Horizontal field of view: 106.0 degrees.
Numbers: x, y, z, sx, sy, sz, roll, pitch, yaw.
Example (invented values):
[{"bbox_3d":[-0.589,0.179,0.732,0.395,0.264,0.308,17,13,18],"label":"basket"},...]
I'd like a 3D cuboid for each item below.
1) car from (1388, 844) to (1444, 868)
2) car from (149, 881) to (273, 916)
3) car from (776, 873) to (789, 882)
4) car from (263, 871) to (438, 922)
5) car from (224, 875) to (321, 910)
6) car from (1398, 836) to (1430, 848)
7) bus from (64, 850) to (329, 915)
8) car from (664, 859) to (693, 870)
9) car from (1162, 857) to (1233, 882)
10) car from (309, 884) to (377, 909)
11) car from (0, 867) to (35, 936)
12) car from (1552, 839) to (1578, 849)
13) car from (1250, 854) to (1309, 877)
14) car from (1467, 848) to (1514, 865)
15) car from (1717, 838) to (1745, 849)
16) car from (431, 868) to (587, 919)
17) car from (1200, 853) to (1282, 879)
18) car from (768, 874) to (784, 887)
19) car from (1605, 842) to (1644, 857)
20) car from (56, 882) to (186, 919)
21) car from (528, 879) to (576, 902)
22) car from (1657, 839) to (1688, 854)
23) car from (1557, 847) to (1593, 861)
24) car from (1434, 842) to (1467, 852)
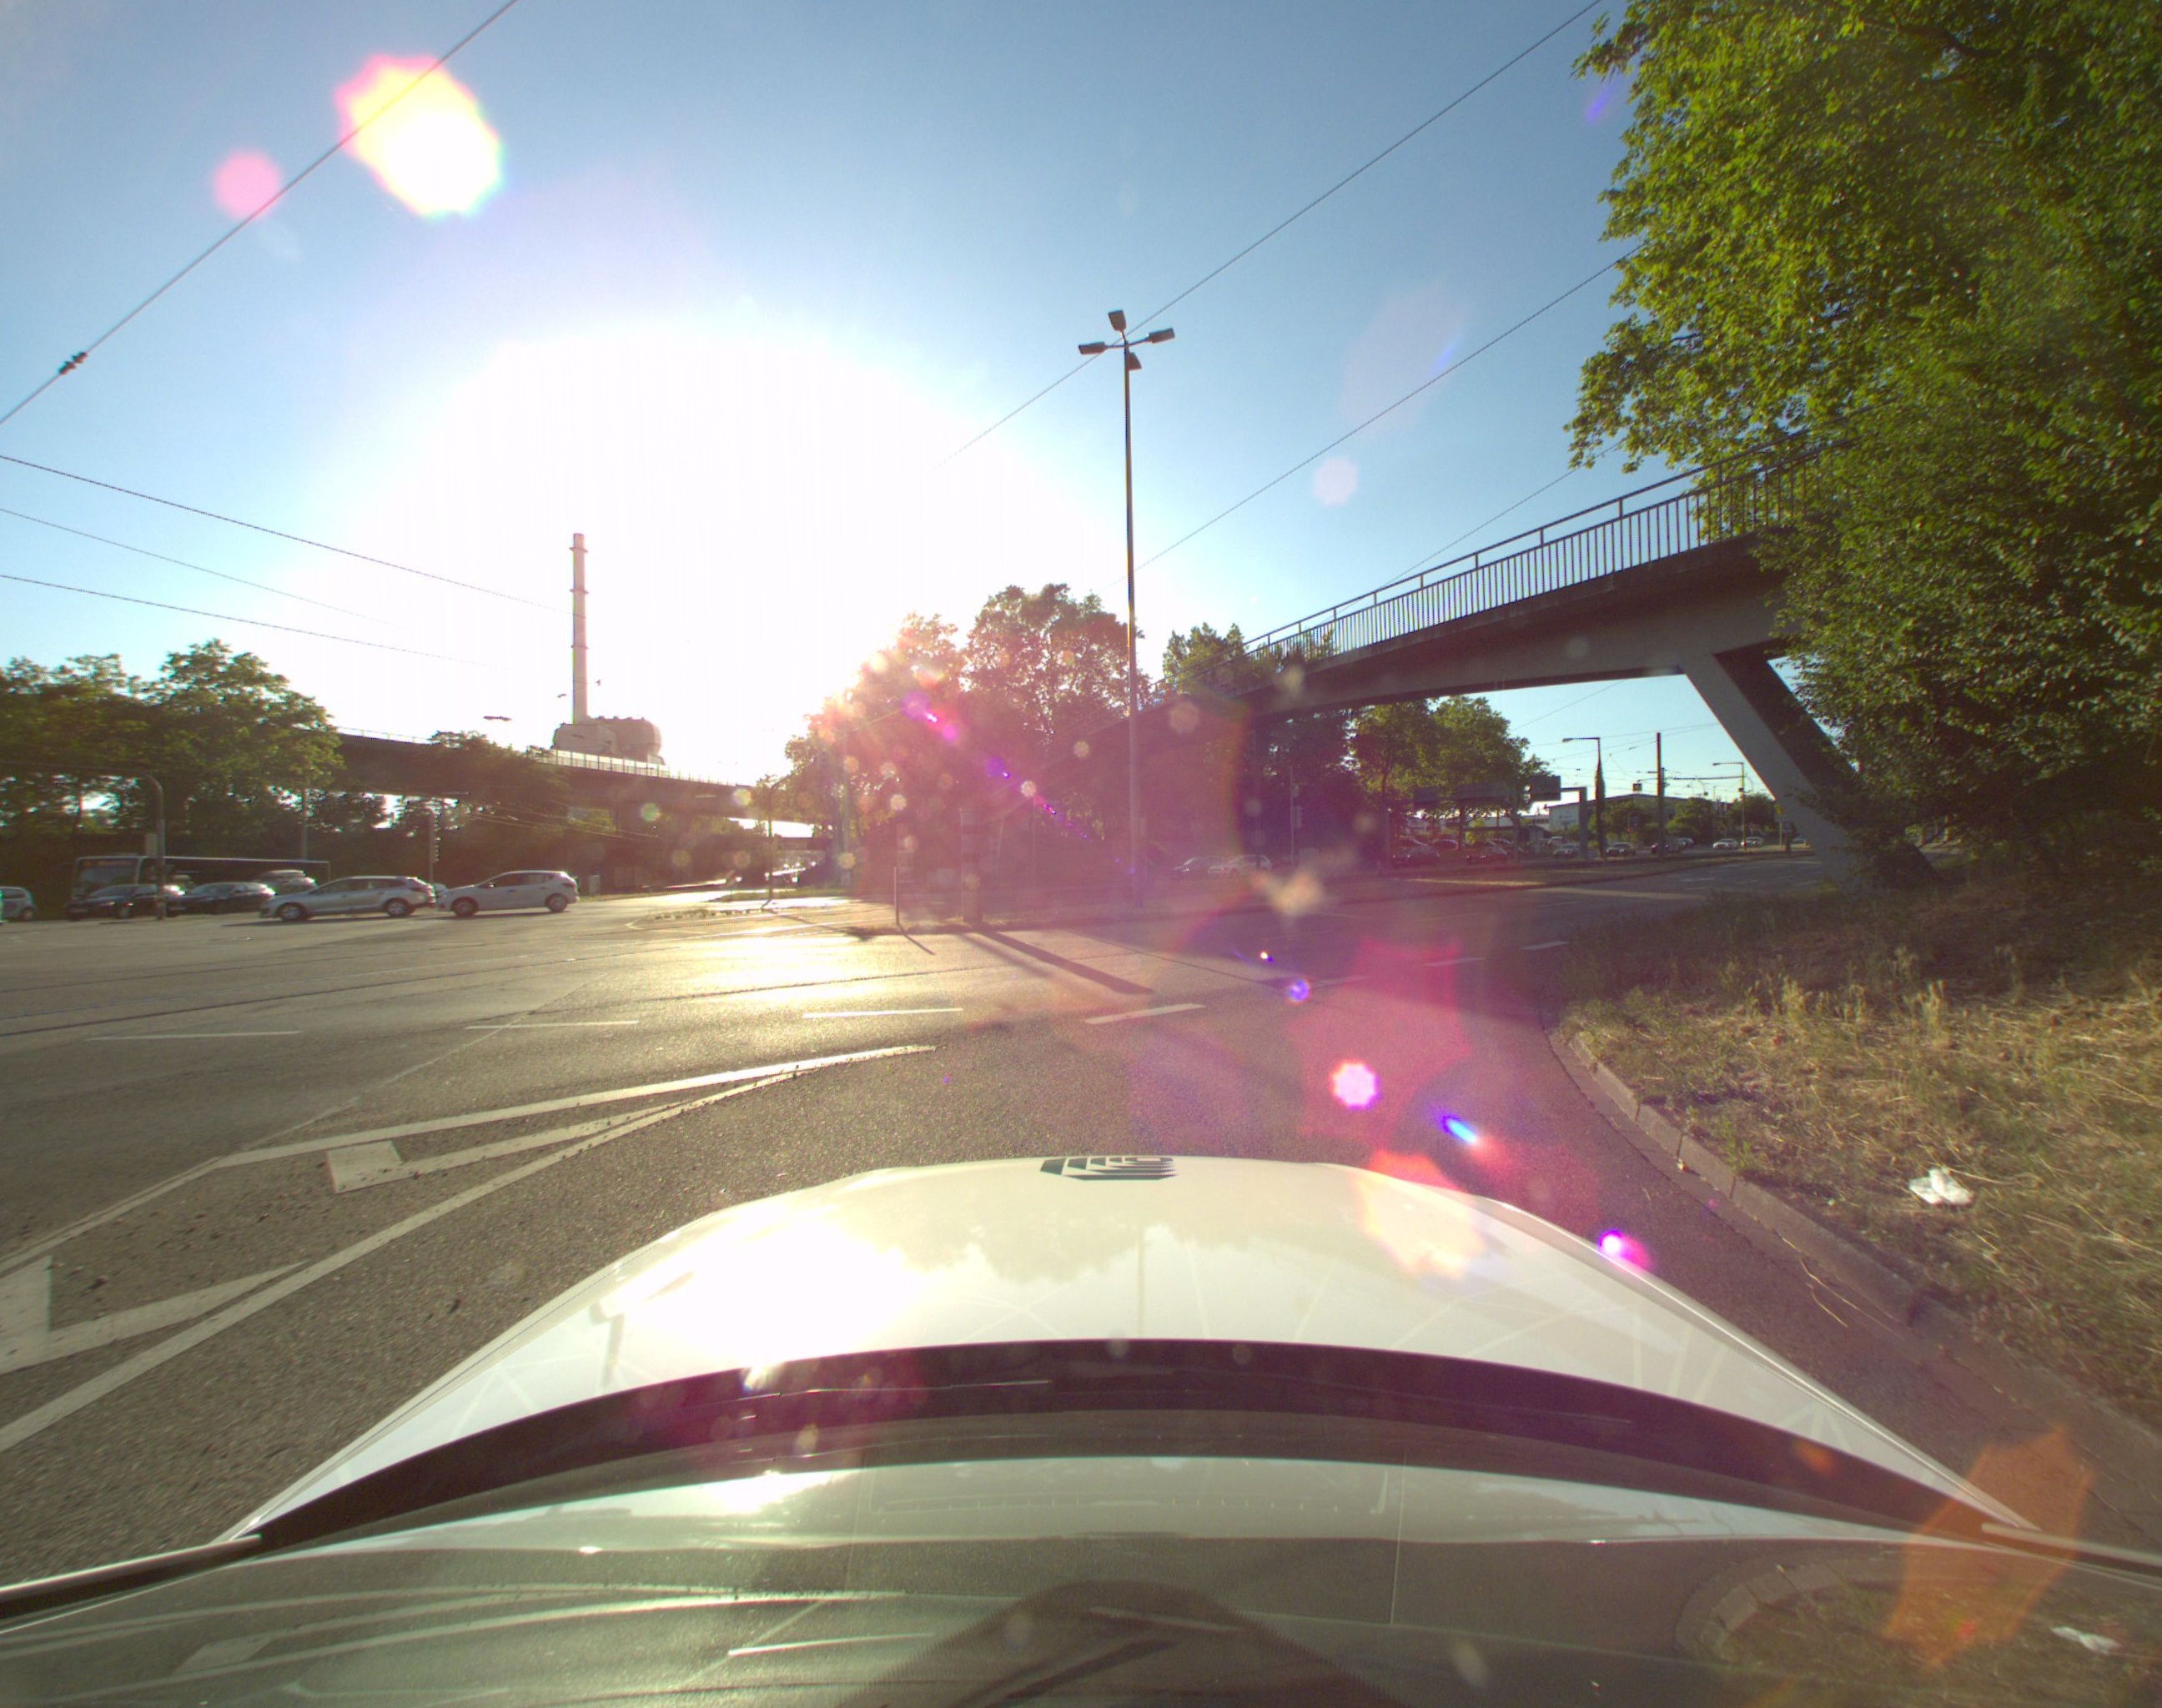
[{"bbox_3d":[24.761,0.131,60.168,4.376,1.650,1.777,-1,0,-36],"label":"car"},{"bbox_3d":[-37.537,1.879,35.297,1.714,1.354,4.074,0,-1,-15],"label":"car"},{"bbox_3d":[-50.018,3.986,136.657,1.694,1.422,4.130,0,-1,-15],"label":"car"},{"bbox_3d":[-25.736,1.441,28.917,4.387,1.609,1.837,0,-1,-34],"label":"car"},{"bbox_3d":[-41.987,1.959,42.433,1.714,1.652,4.074,0,-1,-15],"label":"car"},{"bbox_3d":[50.507,-1.804,123.536,2.008,1.859,3.958,-1,0,-34],"label":"car"},{"bbox_3d":[-46.407,1.389,43.712,2.825,2.954,12.794,0,-1,-13],"label":"bus"},{"bbox_3d":[-67.403,1.786,136.444,1.978,1.771,4.017,0,-1,17],"label":"car"},{"bbox_3d":[7.449,0.955,52.025,4.271,1.443,1.990,-1,0,-36],"label":"car"},{"bbox_3d":[-48.896,2.798,54.061,1.702,1.442,3.980,0,-1,-15],"label":"car"},{"bbox_3d":[-31.178,1.293,21.385,4.162,1.867,1.837,0,-1,-34],"label":"car"},{"bbox_3d":[74.341,-1.521,125.062,4.016,1.442,1.828,-1,1,-34],"label":"car"},{"bbox_3d":[14.998,0.883,61.595,4.372,1.651,1.778,-1,-1,-32],"label":"car"},{"bbox_3d":[33.964,0.177,67.533,4.327,1.310,1.673,-1,0,-35],"label":"car"},{"bbox_3d":[84.994,-1.377,106.437,4.622,1.416,1.823,-1,0,-39],"label":"car"},{"bbox_3d":[-19.873,1.332,28.507,4.325,1.609,1.837,0,-1,-34],"label":"car"},{"bbox_3d":[9.647,0.712,48.954,4.881,1.443,1.990,-1,0,-36],"label":"car"},{"bbox_3d":[-39.322,3.416,105.118,1.716,1.652,4.193,0,-1,-18],"label":"car"},{"bbox_3d":[51.868,-0.435,77.689,4.036,1.416,1.824,-1,0,-36],"label":"car"},{"bbox_3d":[-40.188,1.912,34.233,1.608,1.354,3.976,0,-1,-17],"label":"car"},{"bbox_3d":[-53.160,3.612,81.933,1.994,2.014,5.407,-1,0,-10],"label":"car"},{"bbox_3d":[66.999,-0.841,92.210,4.458,1.654,1.823,-1,1,-39],"label":"car"},{"bbox_3d":[51.410,0.009,84.662,4.458,1.416,1.673,-1,0,-37],"label":"car"},{"bbox_3d":[53.917,-1.042,118.755,1.792,1.387,4.024,-1,1,-35],"label":"car"}]
